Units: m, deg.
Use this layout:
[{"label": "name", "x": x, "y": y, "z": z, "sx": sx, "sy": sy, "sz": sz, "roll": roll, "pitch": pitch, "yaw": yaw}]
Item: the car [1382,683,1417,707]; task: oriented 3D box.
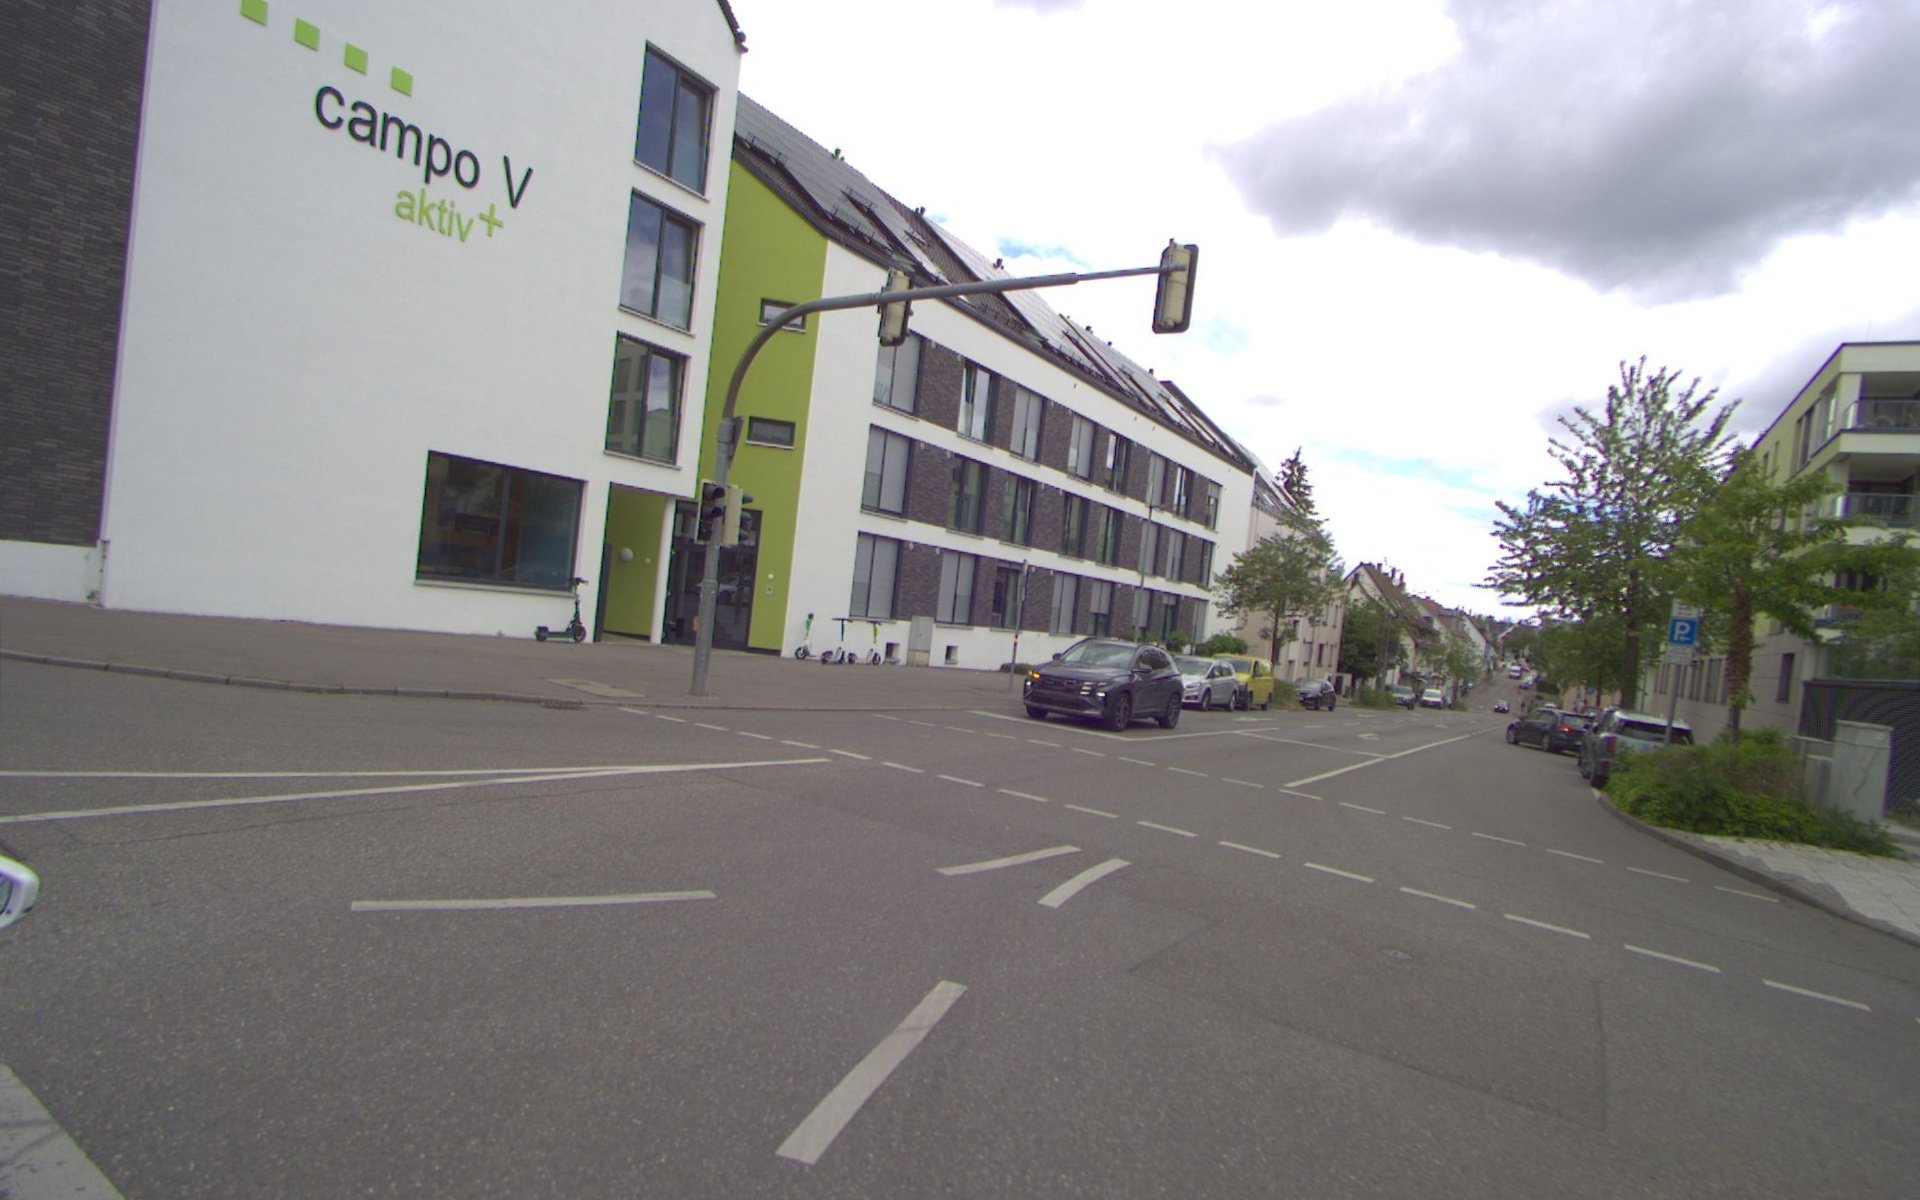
[{"label": "car", "x": 33.279, "y": 7.206, "z": 76.129, "sx": 1.965, "sy": 1.470, "sz": 3.997, "roll": 7, "pitch": -1, "yaw": 28}]

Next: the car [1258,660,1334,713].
[{"label": "car", "x": 13.950, "y": 3.604, "z": 41.615, "sx": 1.779, "sy": 1.815, "sz": 4.417, "roll": 7, "pitch": -2, "yaw": 33}]

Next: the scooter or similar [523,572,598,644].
[{"label": "scooter or similar", "x": -7.759, "y": 0.170, "z": 19.575, "sx": 0.400, "sy": 1.249, "sz": 1.232, "roll": 7, "pitch": -1, "yaw": 33}]

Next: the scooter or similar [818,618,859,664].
[{"label": "scooter or similar", "x": -3.039, "y": 1.039, "z": 25.192, "sx": 0.357, "sy": 1.092, "sz": 1.233, "roll": 7, "pitch": -1, "yaw": 21}]

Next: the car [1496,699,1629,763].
[{"label": "car", "x": 20.271, "y": 4.373, "z": 34.098, "sx": 1.933, "sy": 1.513, "sz": 4.428, "roll": 8, "pitch": -2, "yaw": 4}]

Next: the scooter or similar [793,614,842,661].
[{"label": "scooter or similar", "x": -3.633, "y": 0.967, "z": 25.704, "sx": 0.359, "sy": 1.092, "sz": 1.228, "roll": 7, "pitch": -1, "yaw": 39}]

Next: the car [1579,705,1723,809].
[{"label": "car", "x": 14.277, "y": 3.156, "z": 21.040, "sx": 1.936, "sy": 1.634, "sz": 4.420, "roll": 7, "pitch": -2, "yaw": 30}]

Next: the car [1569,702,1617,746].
[{"label": "car", "x": 34.569, "y": 6.736, "z": 55.021, "sx": 1.937, "sy": 2.001, "sz": 4.418, "roll": 7, "pitch": -2, "yaw": 32}]

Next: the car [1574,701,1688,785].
[{"label": "car", "x": 17.175, "y": 3.610, "z": 25.942, "sx": 1.936, "sy": 1.680, "sz": 4.420, "roll": 7, "pitch": -2, "yaw": 30}]

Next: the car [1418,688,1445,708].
[{"label": "car", "x": 44.547, "y": 9.190, "z": 94.960, "sx": 1.965, "sy": 1.557, "sz": 4.803, "roll": 7, "pitch": -1, "yaw": 28}]

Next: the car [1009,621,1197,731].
[{"label": "car", "x": 2.862, "y": 1.489, "z": 19.377, "sx": 1.920, "sy": 1.678, "sz": 4.094, "roll": 7, "pitch": -1, "yaw": 33}]

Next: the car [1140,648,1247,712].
[{"label": "car", "x": 7.439, "y": 2.563, "z": 31.720, "sx": 1.779, "sy": 1.649, "sz": 4.417, "roll": 7, "pitch": -2, "yaw": 33}]

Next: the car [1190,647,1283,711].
[{"label": "car", "x": 10.102, "y": 2.919, "z": 36.499, "sx": 1.779, "sy": 1.946, "sz": 4.625, "roll": 7, "pitch": -2, "yaw": 33}]

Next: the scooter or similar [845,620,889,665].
[{"label": "scooter or similar", "x": -2.481, "y": 1.151, "z": 26.905, "sx": 0.358, "sy": 1.092, "sz": 1.175, "roll": 7, "pitch": -1, "yaw": 36}]
